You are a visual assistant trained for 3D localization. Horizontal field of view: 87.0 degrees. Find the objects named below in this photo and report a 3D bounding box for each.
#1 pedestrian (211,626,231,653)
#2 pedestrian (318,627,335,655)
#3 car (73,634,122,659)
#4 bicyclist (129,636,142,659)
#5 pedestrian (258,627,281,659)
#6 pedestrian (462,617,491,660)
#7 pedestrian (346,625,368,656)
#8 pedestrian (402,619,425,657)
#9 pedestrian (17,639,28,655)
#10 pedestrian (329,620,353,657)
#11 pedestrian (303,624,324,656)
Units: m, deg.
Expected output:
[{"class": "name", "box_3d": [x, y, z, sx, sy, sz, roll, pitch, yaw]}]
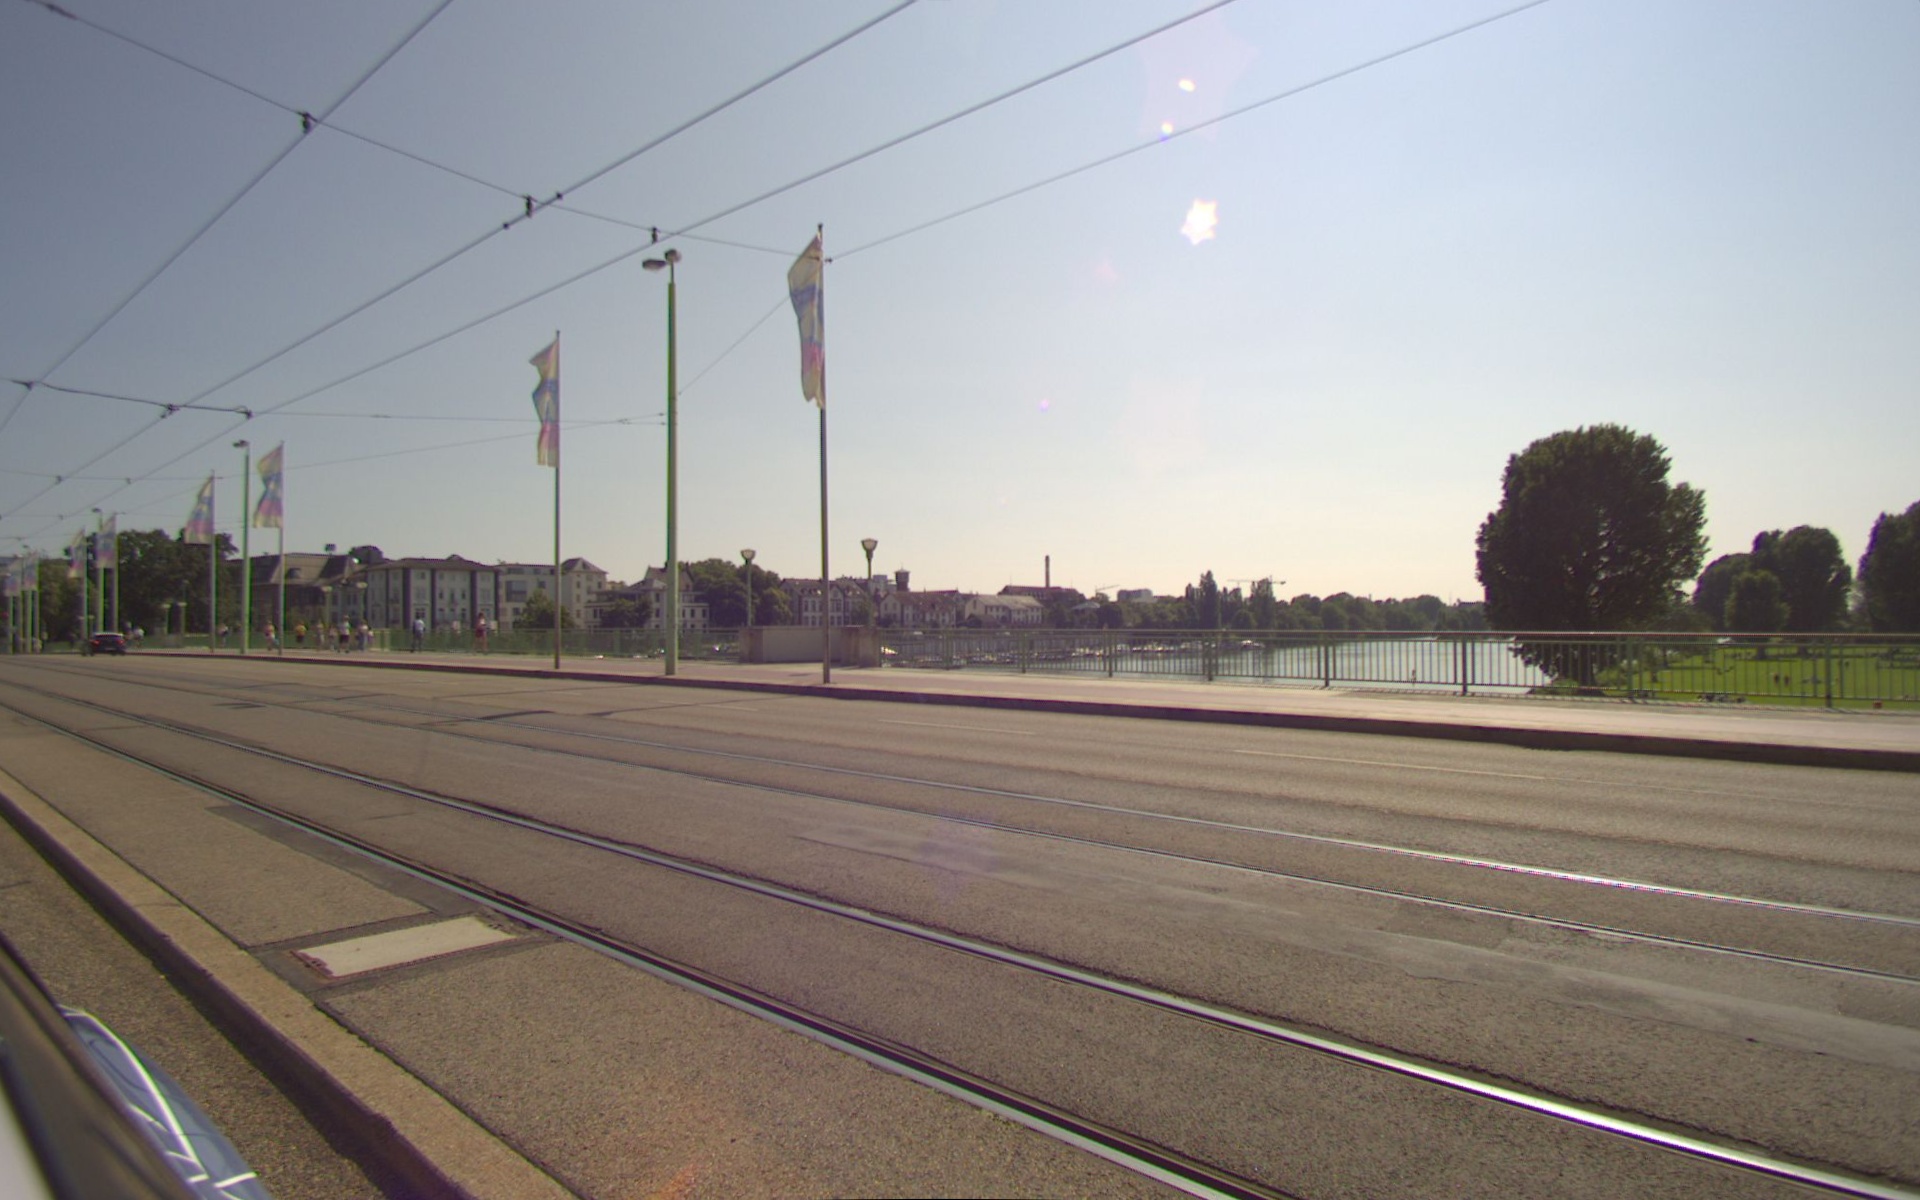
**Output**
[{"class": "pedestrian", "box_3d": [-49.087, 2.632, 67.224, 1.022, 1.712, 0.777, -2, 0, 41]}, {"class": "pedestrian", "box_3d": [-33.059, 2.132, 52.806, 0.788, 1.448, 0.540, -2, 0, 41]}, {"class": "car", "box_3d": [-53.166, 2.826, 62.383, 3.899, 1.465, 1.698, -1, -3, 41]}, {"class": "bicyclist", "box_3d": [-60.248, 3.436, 73.970, 0.621, 1.663, 0.657, -2, -2, 42]}, {"class": "pedestrian", "box_3d": [-38.603, 2.393, 56.563, 1.022, 1.712, 0.777, -2, 0, 41]}, {"class": "pedestrian", "box_3d": [-19.792, 1.569, 41.396, 1.022, 1.703, 0.677, -2, 0, 41]}, {"class": "pedestrian", "box_3d": [-28.955, 1.950, 48.615, 1.022, 1.425, 0.584, -2, 0, 41]}, {"class": "pedestrian", "box_3d": [-25.188, 1.726, 46.638, 1.022, 1.712, 0.584, -2, 0, 41]}, {"class": "pedestrian", "box_3d": [-103.358, 5.180, 111.550, 1.022, 1.712, 0.777, -2, 0, 41]}, {"class": "pedestrian", "box_3d": [-29.604, 1.848, 48.390, 1.022, 1.712, 0.663, -2, 0, 41]}, {"class": "pedestrian", "box_3d": [-33.463, 2.086, 52.357, 1.022, 1.611, 0.619, -2, 0, 41]}]
